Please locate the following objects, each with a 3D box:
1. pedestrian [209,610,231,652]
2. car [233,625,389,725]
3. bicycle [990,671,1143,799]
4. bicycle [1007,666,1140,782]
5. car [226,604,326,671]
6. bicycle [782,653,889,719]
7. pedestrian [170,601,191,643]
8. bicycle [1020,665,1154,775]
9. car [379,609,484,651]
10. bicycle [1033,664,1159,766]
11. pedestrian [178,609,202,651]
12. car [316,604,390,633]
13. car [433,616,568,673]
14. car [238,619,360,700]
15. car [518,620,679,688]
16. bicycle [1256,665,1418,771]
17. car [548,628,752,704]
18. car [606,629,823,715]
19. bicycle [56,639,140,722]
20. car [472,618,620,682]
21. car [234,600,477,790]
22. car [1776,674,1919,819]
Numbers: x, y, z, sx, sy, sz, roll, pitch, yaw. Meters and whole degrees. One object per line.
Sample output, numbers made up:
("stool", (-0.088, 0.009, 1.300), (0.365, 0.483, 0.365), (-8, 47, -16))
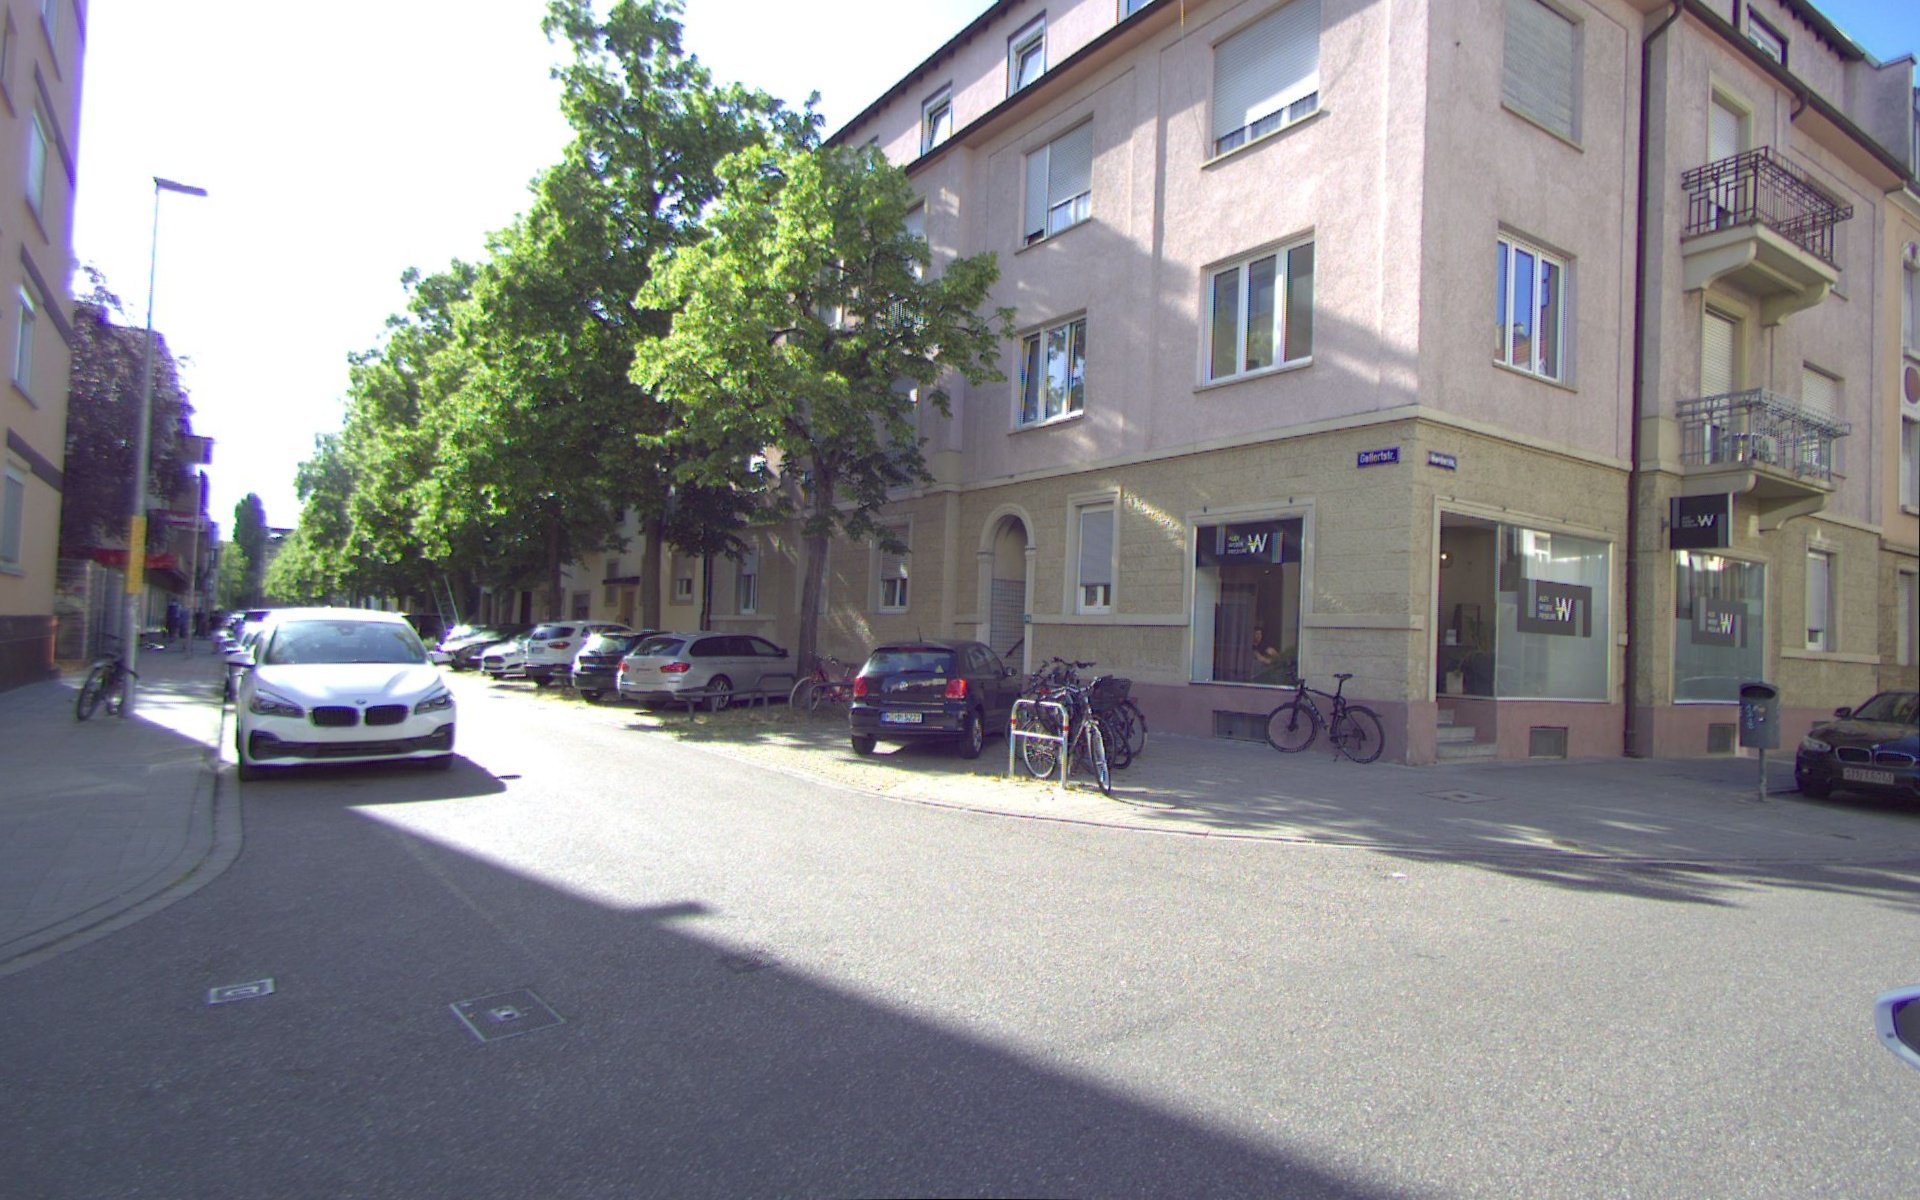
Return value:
("pedestrian", (-30.265, 1.264, 41.081), (0.655, 1.662, 0.521), (4, -2, -36))
("car", (-10.432, 1.113, 16.018), (1.712, 1.327, 4.167), (3, -3, -37))
("bicycle", (1.070, 1.353, 10.574), (0.640, 1.150, 1.890), (1, -2, -29))
("bicycle", (1.271, 1.381, 11.636), (0.520, 1.150, 1.890), (1, -1, -29))
("car", (-19.931, 1.063, 29.185), (2.090, 1.789, 4.462), (3, -3, -38))
("bicycle", (-2.177, 1.490, 17.722), (1.877, 1.078, 0.499), (2, 1, -40))
("pedestrian", (-36.315, 1.015, 46.799), (0.655, 1.928, 0.521), (3, -2, -36))
("bicycle", (1.508, 1.412, 12.247), (0.520, 1.150, 1.887), (2, -1, -33))
("car", (-22.634, 1.293, 43.061), (1.680, 1.690, 3.591), (1, -2, 42))
("bicycle", (1.722, 1.448, 13.042), (0.520, 1.150, 1.887), (2, -1, -33))
("pedestrian", (-30.967, 1.203, 40.386), (0.655, 1.662, 0.521), (4, -2, -36))
("car", (-37.588, 1.152, 62.242), (1.680, 1.690, 3.591), (1, -2, 42))
("car", (-14.809, 1.426, 32.477), (1.680, 1.690, 3.591), (1, -2, 42))
("car", (-13.438, 1.147, 20.317), (1.712, 1.422, 4.167), (3, -3, -37))
("car", (-9.453, 1.392, 26.431), (1.680, 1.630, 3.591), (1, -2, 42))
("bicycle", (4.822, 1.472, 12.963), (0.642, 1.150, 1.884), (2, -1, -37))
("car", (-6.616, 1.418, 21.895), (1.674, 1.445, 4.208), (1, -3, 30))
("car", (-4.682, 1.379, 19.797), (1.674, 1.457, 4.208), (1, -3, 30))
("bicycle", (-11.124, 1.012, 13.004), (0.395, 0.978, 1.683), (7, -5, -29))
("car", (-12.008, 1.446, 29.283), (1.680, 1.690, 3.591), (1, -2, 42))
("car", (-6.676, 0.872, 10.848), (1.712, 1.613, 4.400), (3, -3, -37))
("car", (11.944, 1.766, 12.223), (4.224, 1.445, 1.672), (5, -1, -30))
